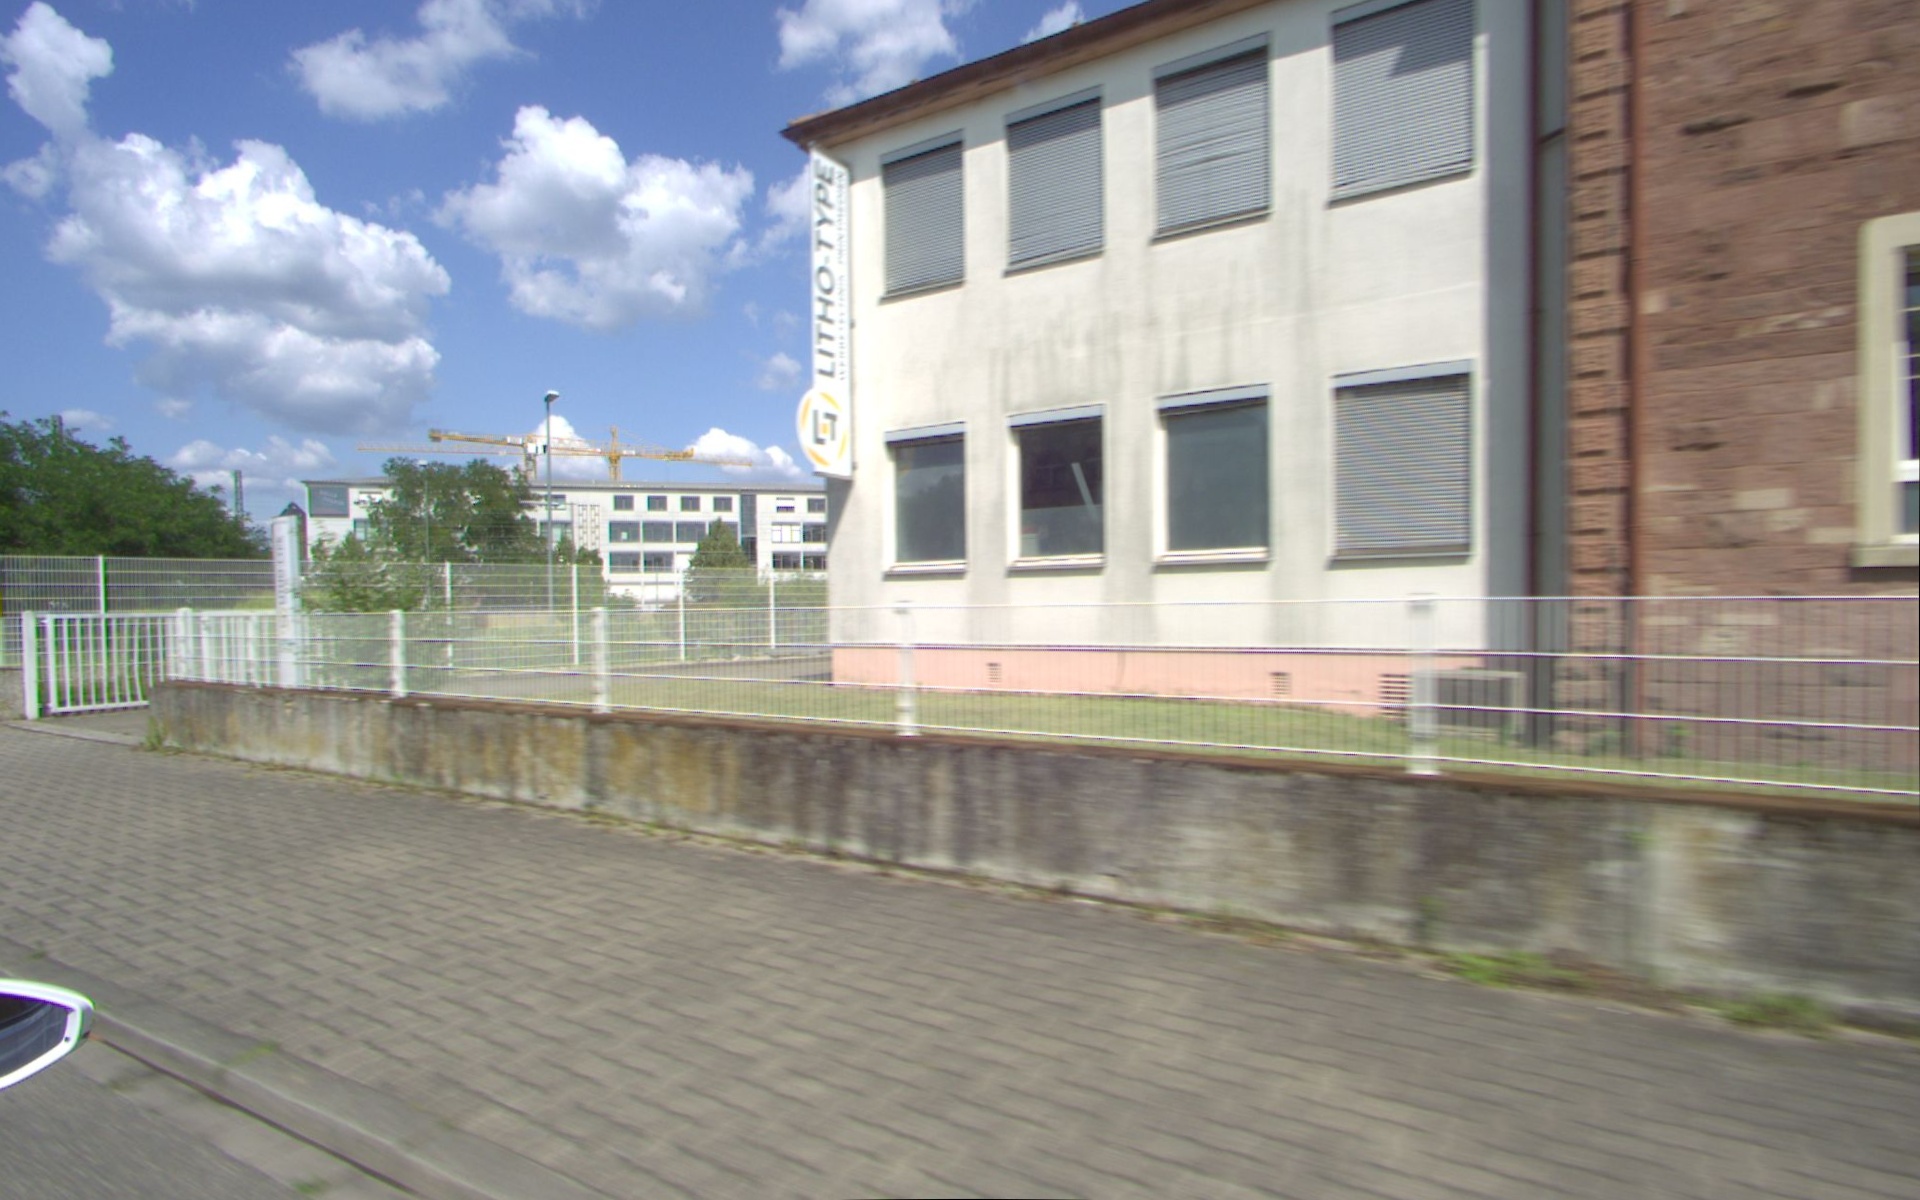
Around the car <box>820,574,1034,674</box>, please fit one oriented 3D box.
[{"bbox_3d":[-0.662,0.457,20.359,3.937,1.855,1.797,-1,-1,-26],"label":"car"}]
